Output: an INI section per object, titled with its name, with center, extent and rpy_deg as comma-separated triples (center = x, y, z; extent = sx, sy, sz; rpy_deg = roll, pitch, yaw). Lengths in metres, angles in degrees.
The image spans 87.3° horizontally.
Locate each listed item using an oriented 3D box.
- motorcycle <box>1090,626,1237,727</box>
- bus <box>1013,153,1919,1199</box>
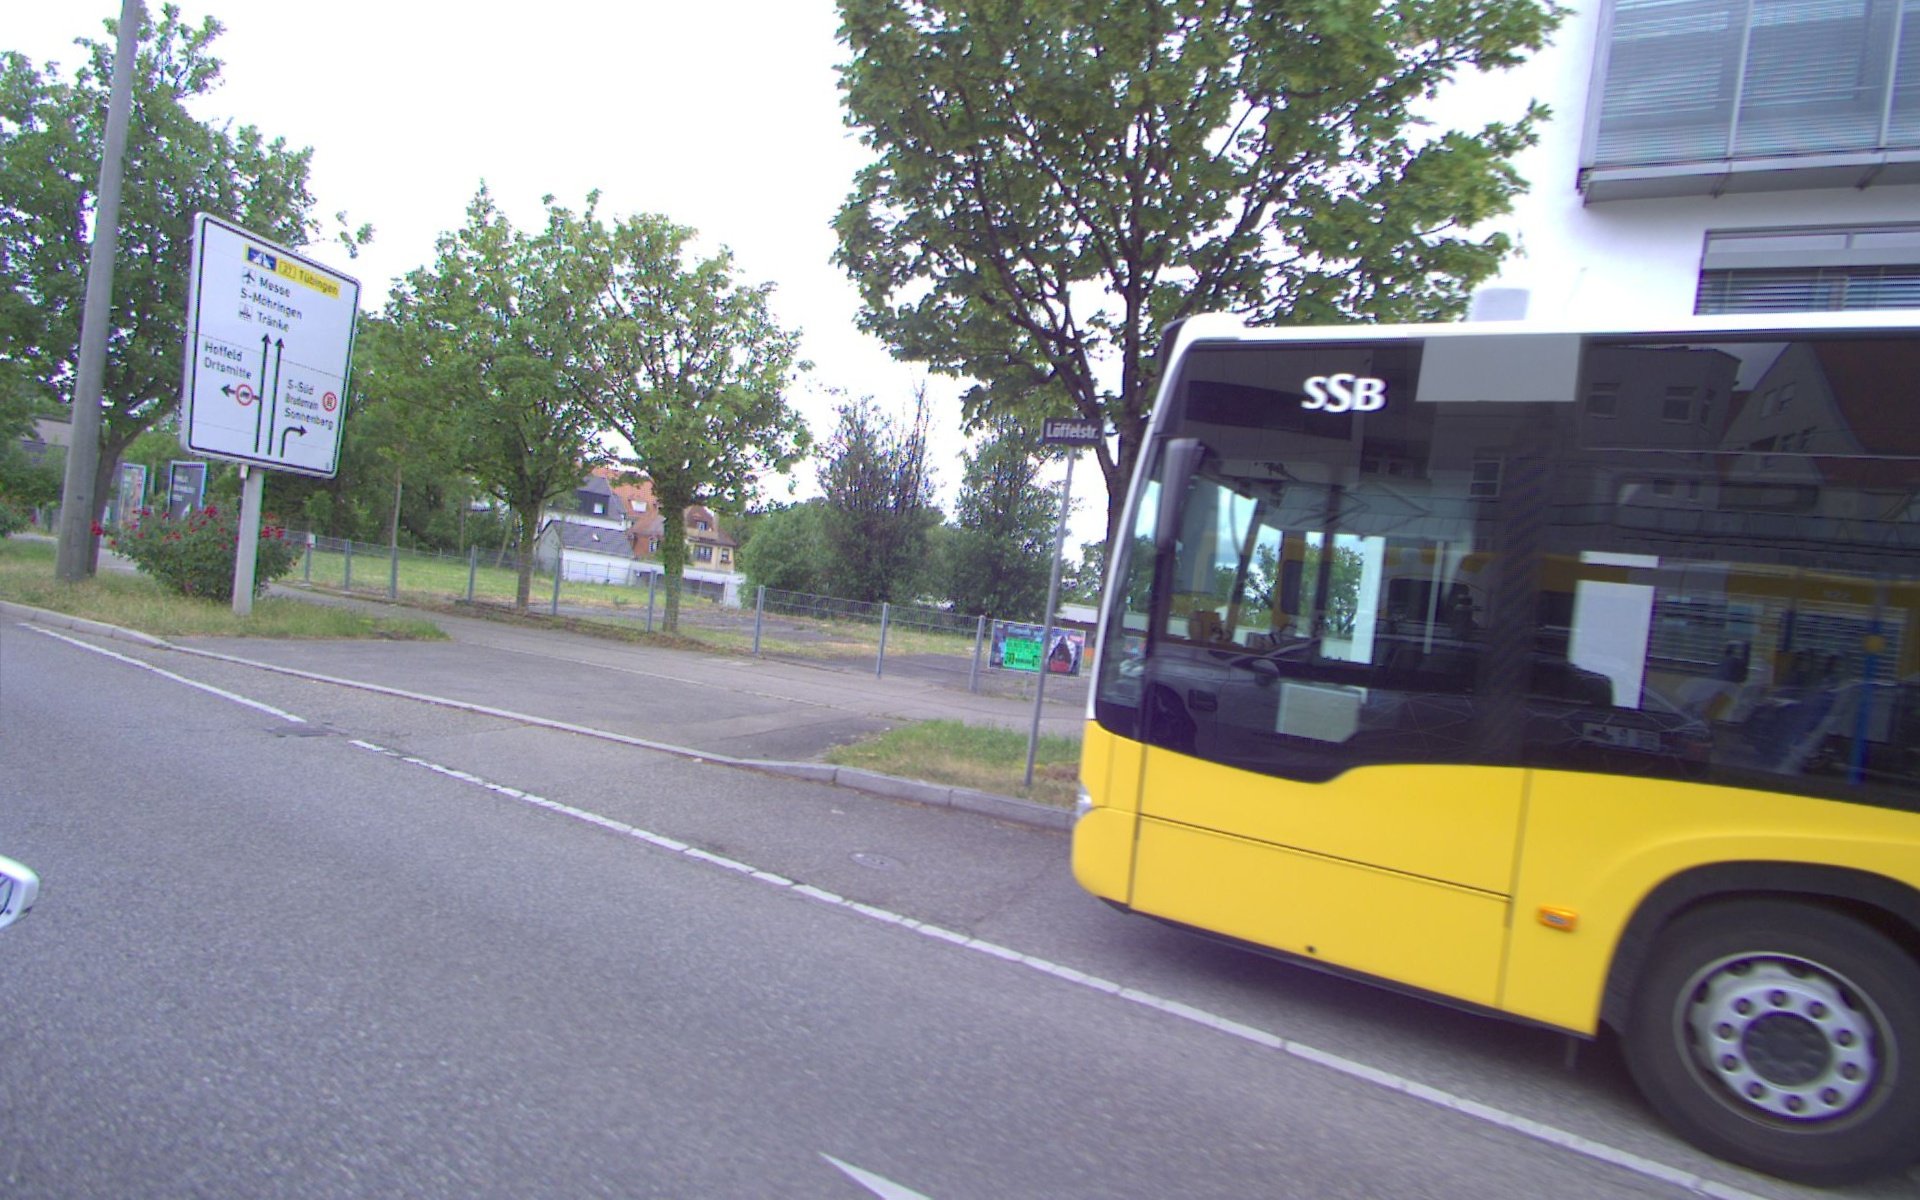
[motorcycle]
center = 2.776, 1.035, 13.842
extent = 1.711, 1.129, 0.824
rpy_deg = 7, 1, -5
[bus]
center = 5.321, 0.571, 3.345
extent = 9.696, 3.282, 2.987
rpy_deg = 6, 1, 29
